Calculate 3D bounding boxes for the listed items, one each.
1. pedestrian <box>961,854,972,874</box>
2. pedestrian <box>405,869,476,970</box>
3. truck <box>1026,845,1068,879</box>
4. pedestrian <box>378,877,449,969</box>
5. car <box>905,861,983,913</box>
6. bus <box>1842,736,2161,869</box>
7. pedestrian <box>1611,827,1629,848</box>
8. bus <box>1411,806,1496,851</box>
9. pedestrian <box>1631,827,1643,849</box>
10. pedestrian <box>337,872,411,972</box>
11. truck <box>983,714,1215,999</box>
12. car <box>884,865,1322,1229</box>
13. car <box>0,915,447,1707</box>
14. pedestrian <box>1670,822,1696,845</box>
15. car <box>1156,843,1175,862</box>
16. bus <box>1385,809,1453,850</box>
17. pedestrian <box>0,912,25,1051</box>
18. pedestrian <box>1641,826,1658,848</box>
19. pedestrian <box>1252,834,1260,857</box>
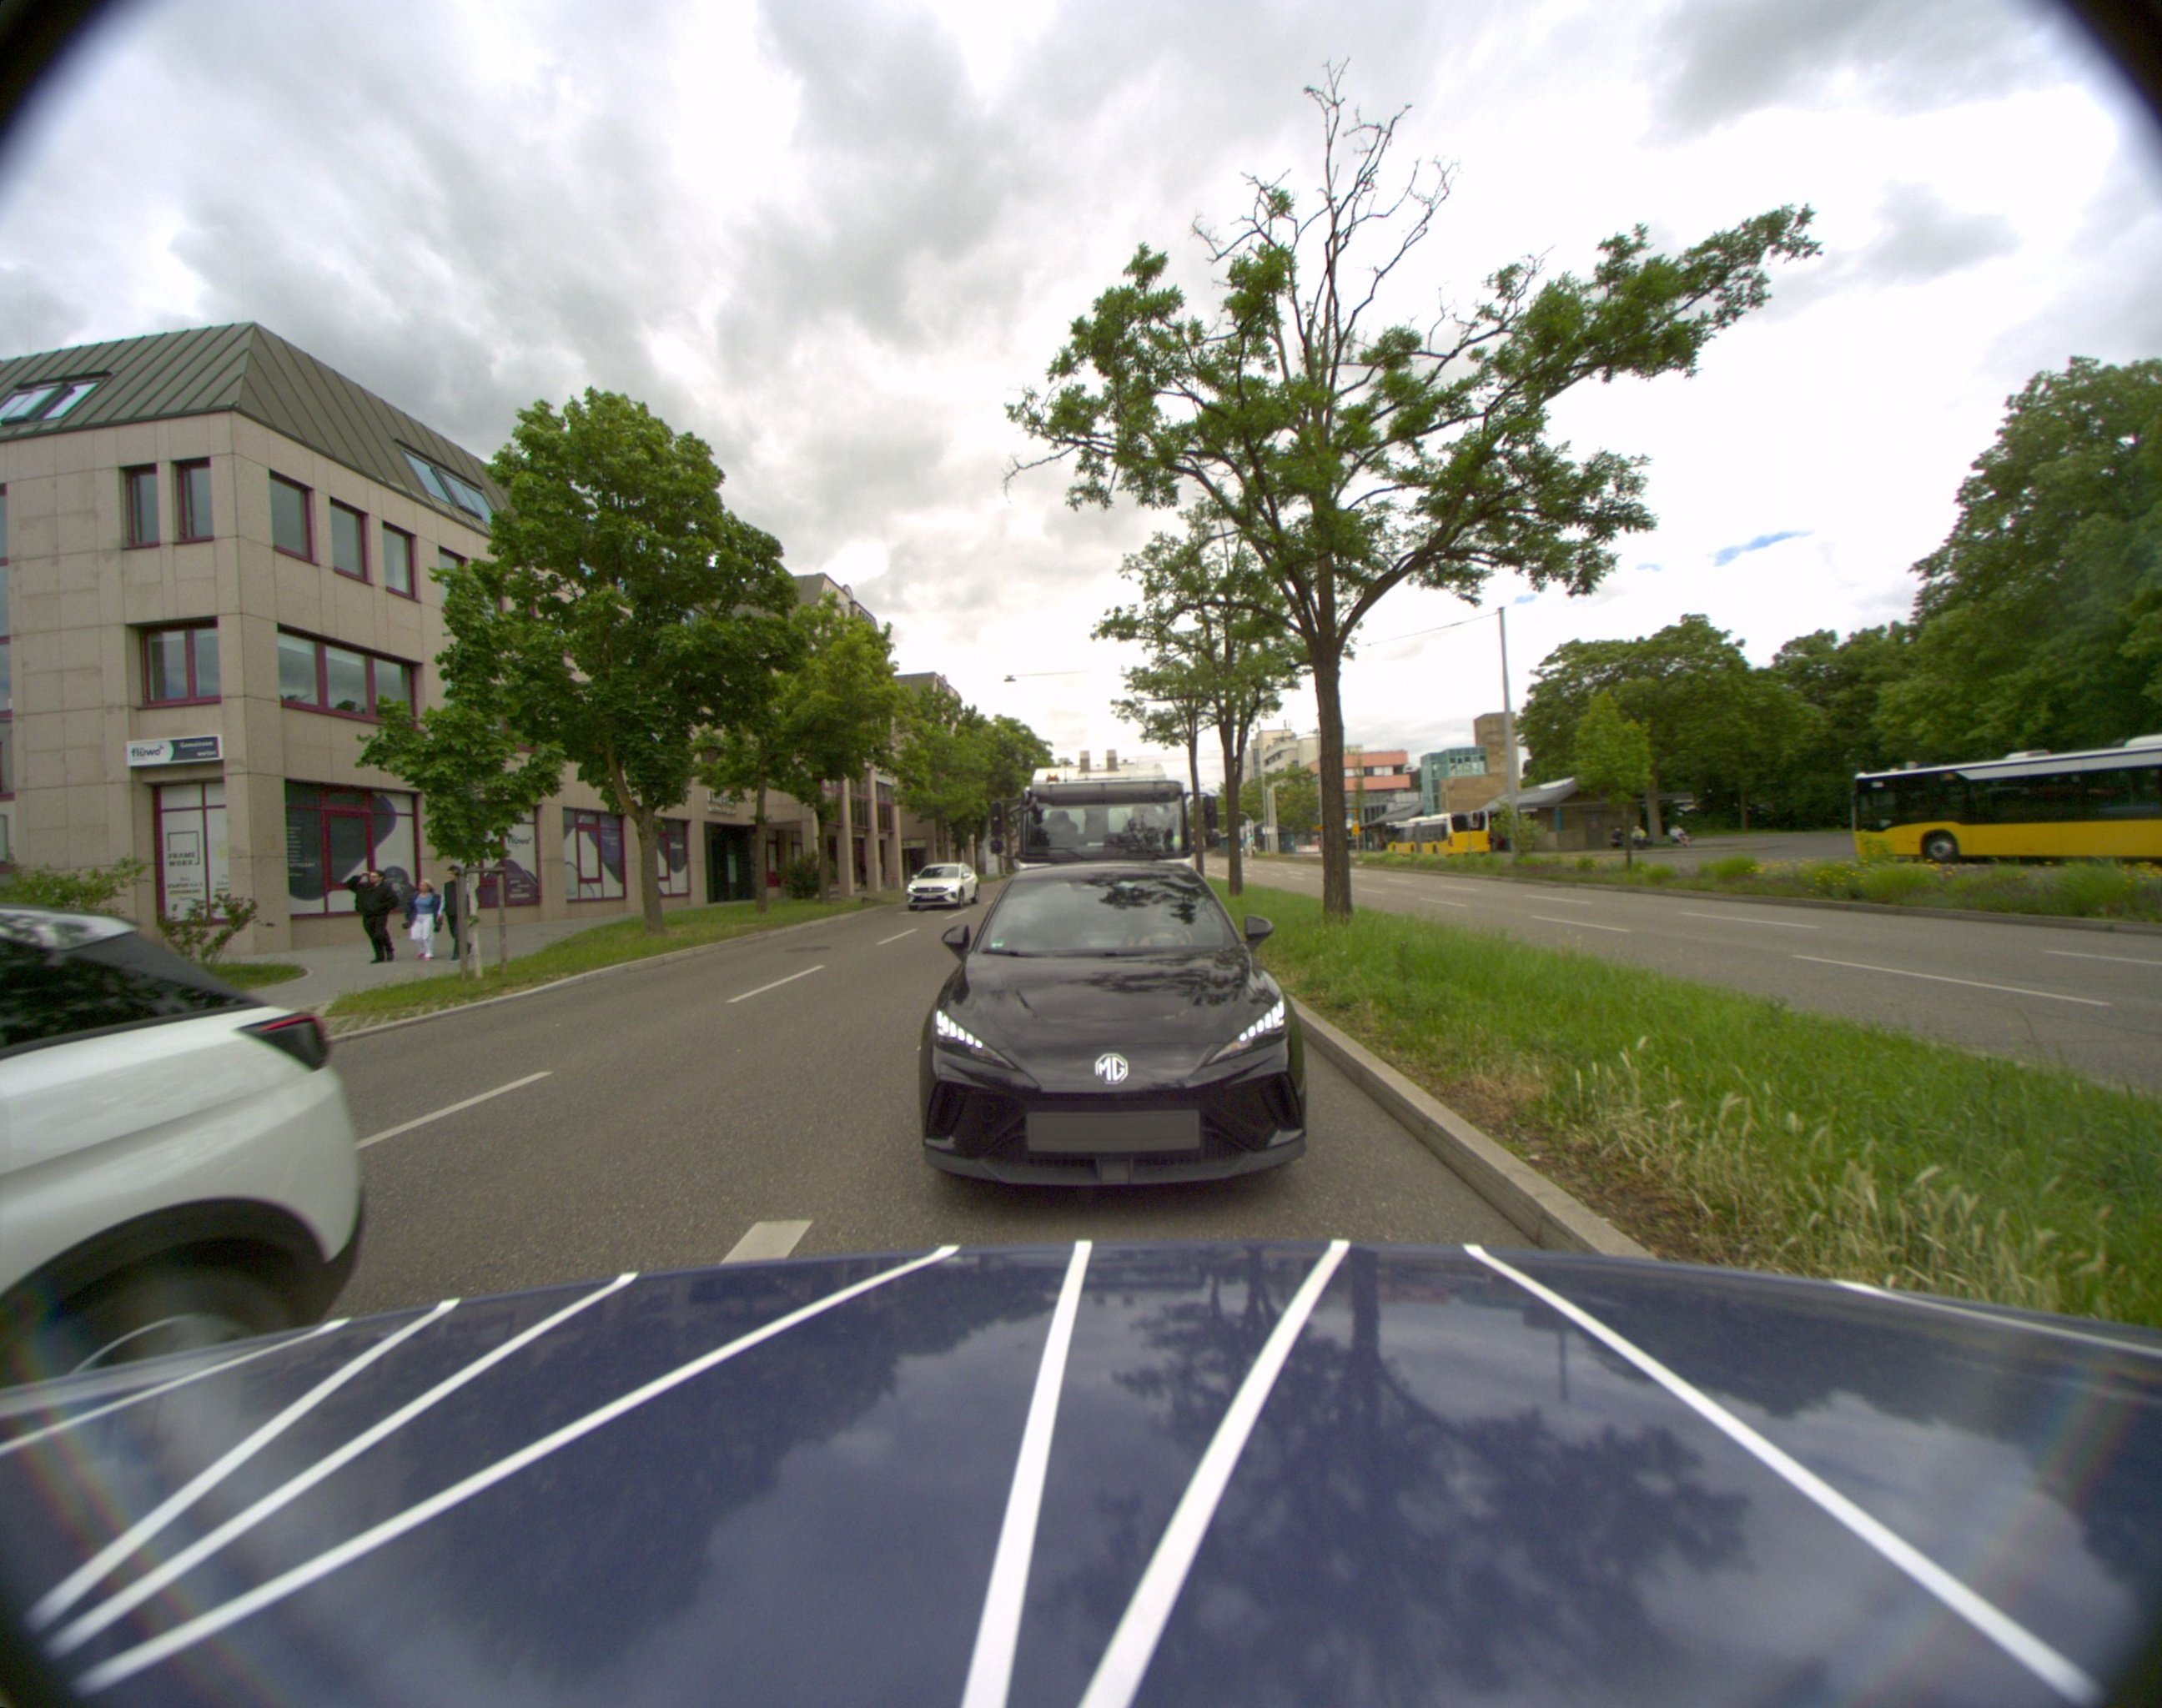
[{"bbox_3d":[-9.948,0.866,66.142,0.719,1.737,0.832,-2,1,1],"label":"pedestrian"},{"bbox_3d":[-11.962,1.199,14.208,0.642,1.795,0.677,-3,1,1],"label":"pedestrian"},{"bbox_3d":[-2.338,0.490,54.024,2.216,2.191,5.845,-2,1,5],"label":"truck"},{"bbox_3d":[-12.585,1.285,14.347,0.642,1.637,0.677,-3,1,1],"label":"pedestrian"},{"bbox_3d":[-4.584,1.061,26.003,1.719,1.546,4.090,-2,0,3],"label":"car"},{"bbox_3d":[25.929,-1.238,19.618,2.888,2.985,10.397,-3,0,6],"label":"bus"},{"bbox_3d":[30.664,-0.930,43.209,0.599,1.155,0.743,-2,1,14],"label":"pedestrian"},{"bbox_3d":[25.981,-1.695,53.480,2.887,2.793,9.182,-3,0,10],"label":"bus"},{"bbox_3d":[30.212,-0.891,41.301,0.367,1.160,0.899,-2,1,26],"label":"pedestrian"},{"bbox_3d":[-13.269,1.250,14.279,0.642,1.795,0.677,-3,1,1],"label":"pedestrian"},{"bbox_3d":[0.316,0.025,12.495,2.544,3.187,7.369,-3,0,2],"label":"truck"},{"bbox_3d":[0.123,0.865,5.281,1.827,1.430,4.000,-3,0,1],"label":"car"},{"bbox_3d":[-2.959,1.014,0.206,1.859,1.586,4.313,-2,0,1],"label":"car"},{"bbox_3d":[31.955,-1.083,40.359,0.650,1.165,0.925,-2,1,1],"label":"pedestrian"},{"bbox_3d":[9.442,-0.158,84.909,1.726,2.002,4.001,-3,0,3],"label":"car"},{"bbox_3d":[27.577,-1.923,62.528,2.887,2.985,9.182,-3,0,10],"label":"bus"},{"bbox_3d":[-12.084,1.404,8.169,0.496,1.510,0.677,0,1,1],"label":"pedestrian"},{"bbox_3d":[30.637,-0.904,40.976,0.598,1.155,0.744,-2,1,26],"label":"pedestrian"},{"bbox_3d":[21.354,-1.023,92.771,0.903,2.772,1.148,-2,1,13],"label":"pedestrian"}]
